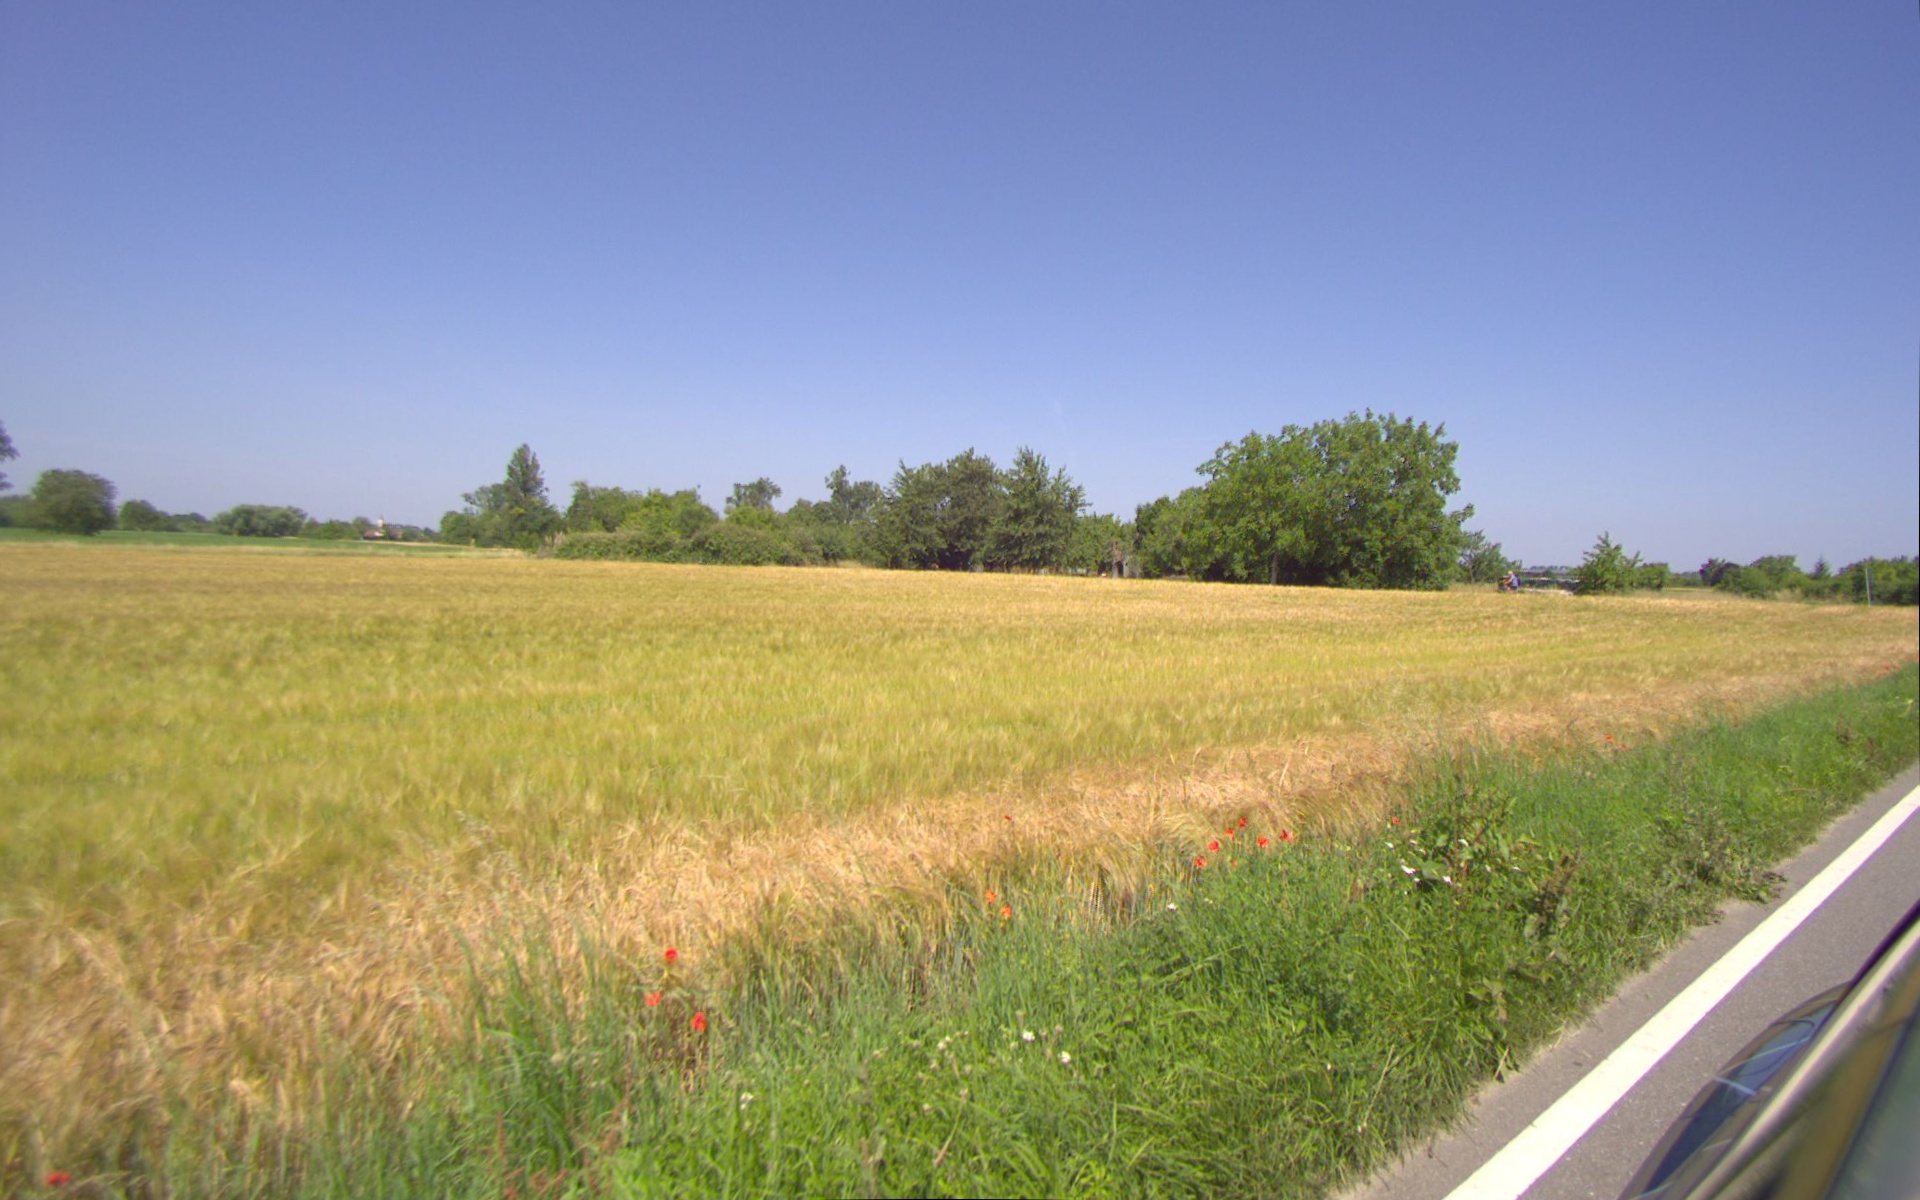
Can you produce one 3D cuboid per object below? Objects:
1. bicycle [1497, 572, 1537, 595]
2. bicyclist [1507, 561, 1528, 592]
[{"bbox_3d":[29.530,-0.878,53.653,1.740,1.129,0.521,2,2,9],"label":"bicycle"},{"bbox_3d":[29.543,-1.253,53.641,0.723,1.593,0.673,2,2,9],"label":"bicyclist"}]
